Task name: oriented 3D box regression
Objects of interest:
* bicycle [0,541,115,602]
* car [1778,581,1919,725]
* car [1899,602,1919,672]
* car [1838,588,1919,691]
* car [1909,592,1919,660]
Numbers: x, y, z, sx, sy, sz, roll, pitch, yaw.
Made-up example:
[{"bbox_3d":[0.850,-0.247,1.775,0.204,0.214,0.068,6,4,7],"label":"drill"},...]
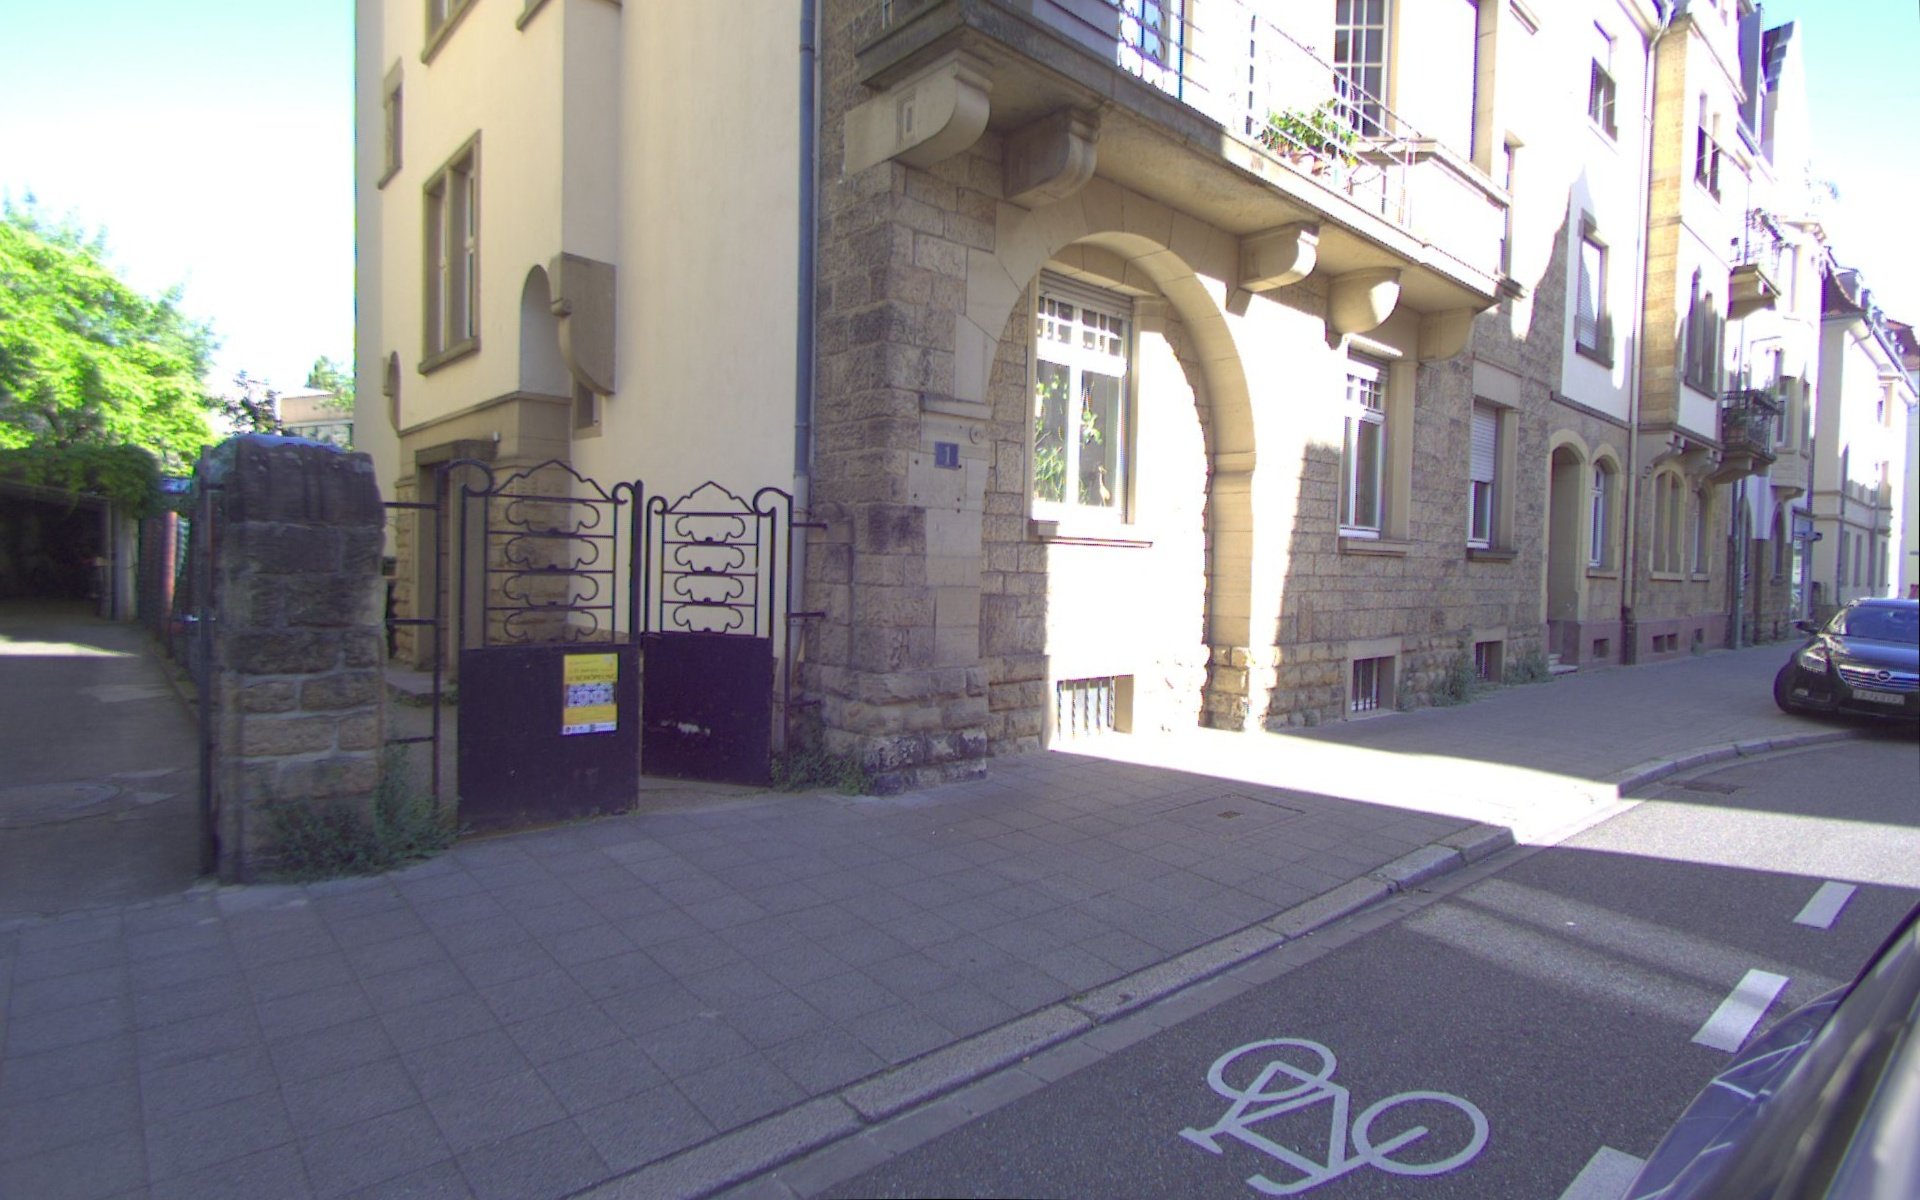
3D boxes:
[{"bbox_3d":[-18.367,-0.603,20.451,2.834,1.124,0.865,3,2,25],"label":"bicycle"},{"bbox_3d":[11.511,0.555,12.233,4.265,1.480,1.868,0,3,-42],"label":"car"},{"bbox_3d":[19.423,0.709,19.578,1.694,1.270,3.877,2,2,45],"label":"car"},{"bbox_3d":[15.444,0.587,16.174,4.186,1.460,1.654,0,3,-43],"label":"car"},{"bbox_3d":[22.467,0.579,22.573,1.787,1.447,3.746,3,2,44],"label":"car"}]
